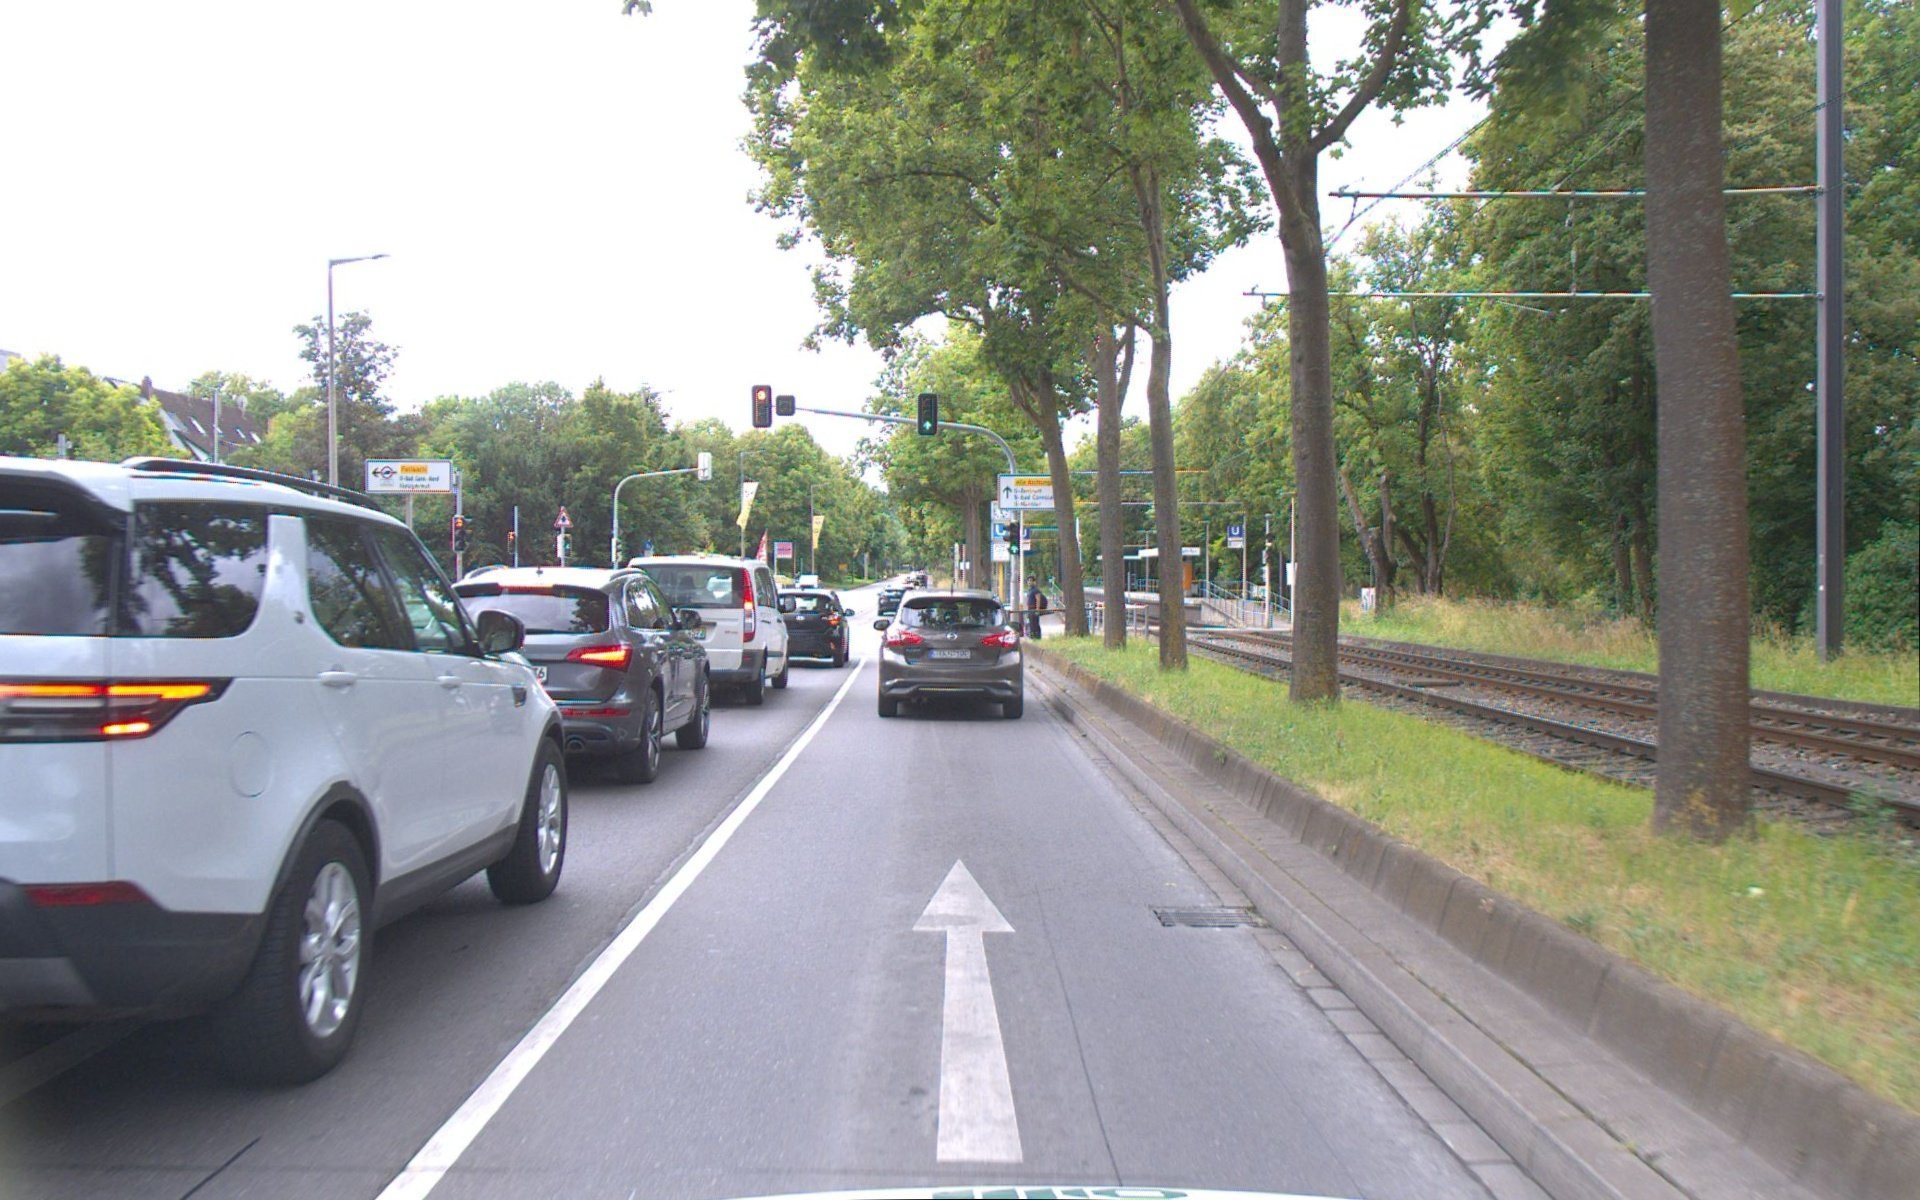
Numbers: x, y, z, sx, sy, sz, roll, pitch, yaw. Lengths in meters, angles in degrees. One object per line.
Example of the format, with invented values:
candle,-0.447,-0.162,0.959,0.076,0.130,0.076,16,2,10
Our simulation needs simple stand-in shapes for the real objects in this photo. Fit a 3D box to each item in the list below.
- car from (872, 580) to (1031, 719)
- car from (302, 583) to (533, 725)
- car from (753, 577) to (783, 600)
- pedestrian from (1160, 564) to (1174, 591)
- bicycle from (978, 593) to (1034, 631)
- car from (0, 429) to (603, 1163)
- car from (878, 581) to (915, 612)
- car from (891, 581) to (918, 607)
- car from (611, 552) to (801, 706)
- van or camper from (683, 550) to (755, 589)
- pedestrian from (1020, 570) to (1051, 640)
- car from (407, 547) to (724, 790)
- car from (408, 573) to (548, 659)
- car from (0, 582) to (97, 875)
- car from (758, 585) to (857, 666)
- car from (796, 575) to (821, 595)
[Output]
car,-0.064,0.551,20.967,1.799,1.555,3.929,1,0,1
car,-6.388,0.567,19.884,1.524,1.492,3.807,-2,1,-1
car,-13.083,-0.770,113.024,1.707,1.490,4.340,2,0,-3
pedestrian,11.833,-1.289,94.660,0.703,1.537,0.724,2,0,2
bicycle,1.423,0.368,51.626,1.642,1.109,0.601,-3,0,-5
car,-2.754,0.474,6.390,1.766,1.826,4.502,2,0,-1
car,-3.278,-0.182,85.280,1.675,1.501,3.672,2,0,1
car,-3.433,-0.397,102.690,1.472,1.555,3.672,2,0,1
car,-3.361,0.335,22.898,1.868,1.875,5.281,1,0,-1
van or camper,-25.588,-3.247,176.113,6.999,3.428,2.796,6,1,-1
pedestrian,1.967,0.129,43.154,0.736,1.767,0.840,-2,0,4
car,-3.148,0.491,14.074,1.715,1.748,4.333,0,0,-1
car,-9.558,0.287,33.088,1.704,1.565,3.909,2,0,-1
car,-5.705,0.678,7.402,1.559,1.493,3.929,-1,0,1
car,-2.966,0.458,32.761,1.669,1.506,3.667,1,0,-1
car,-12.806,-1.270,139.948,1.864,1.708,5.078,1,0,-3
